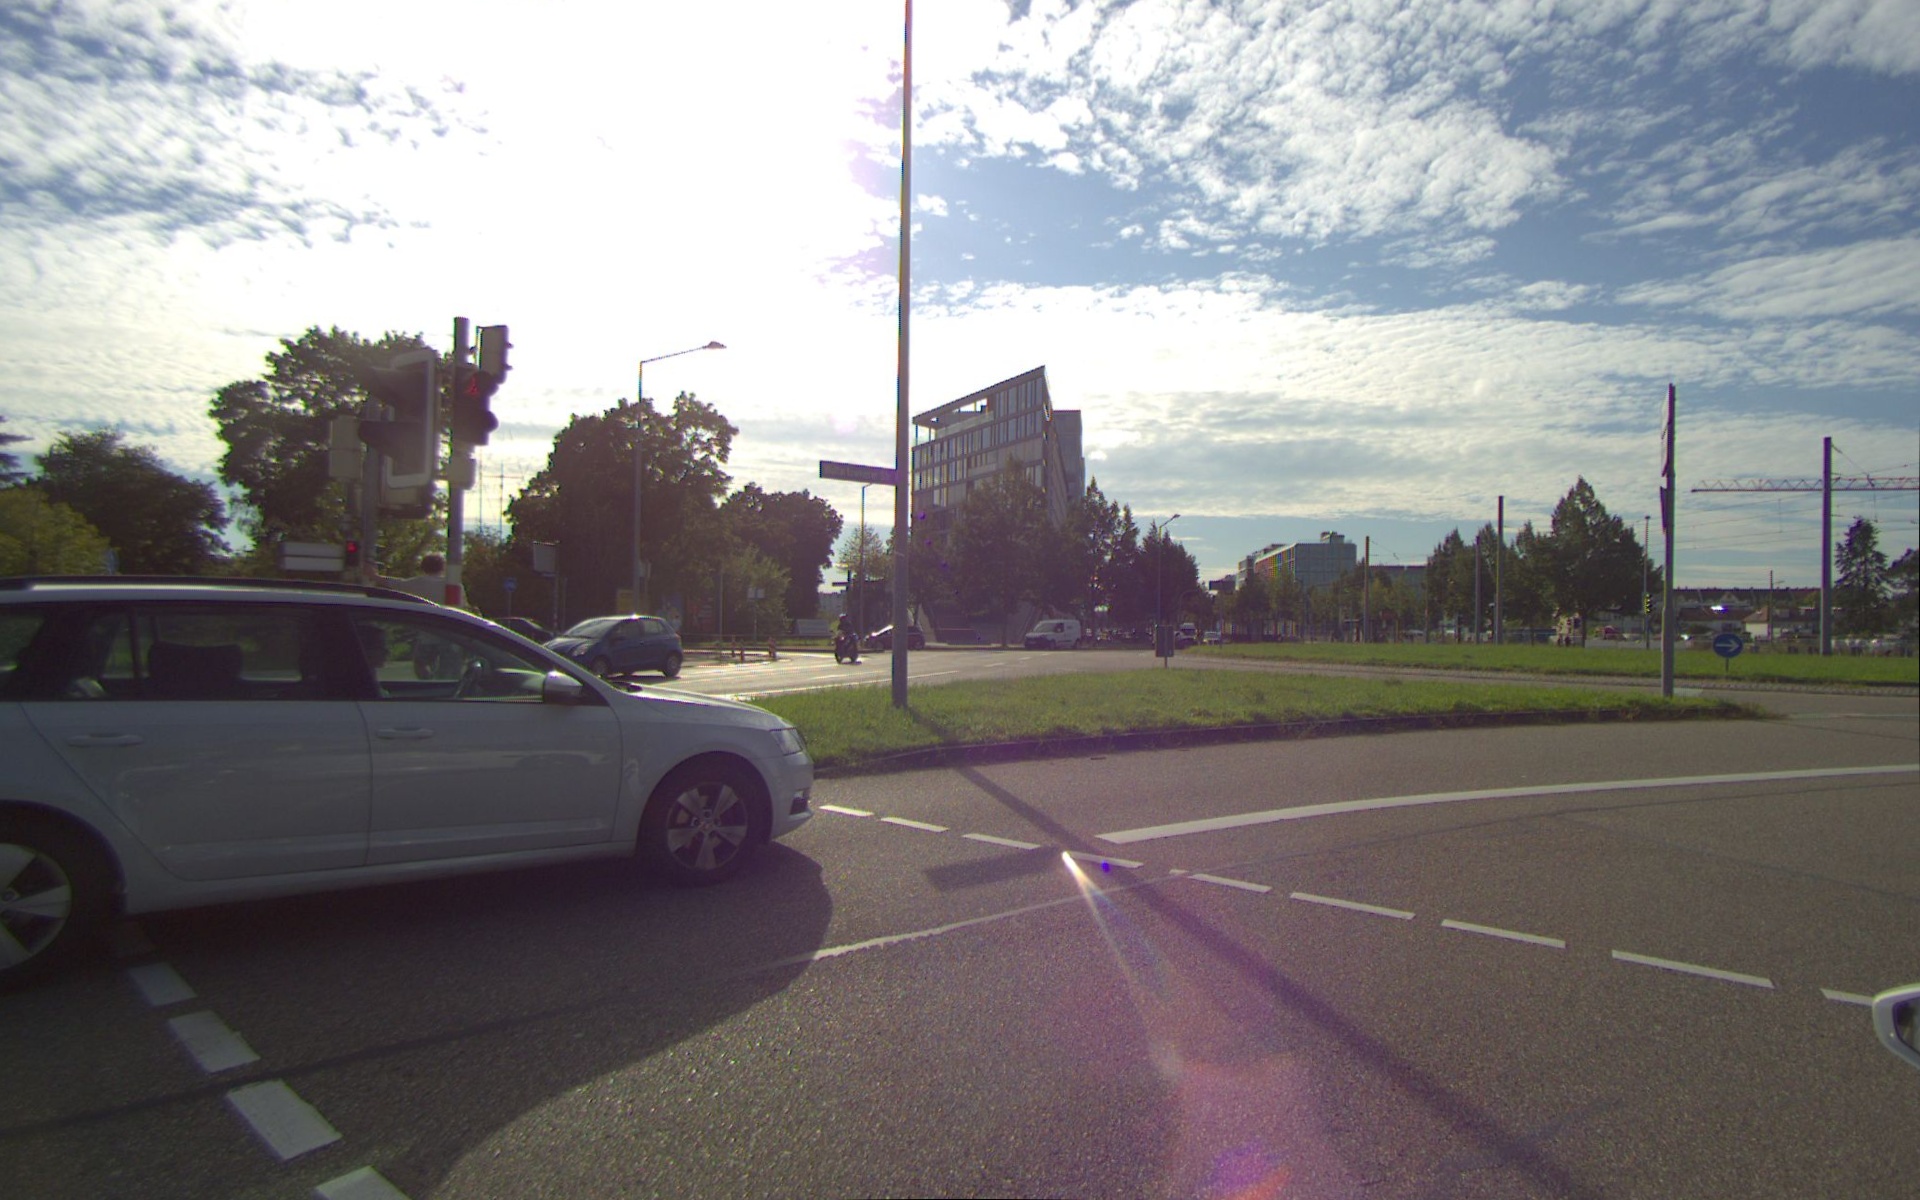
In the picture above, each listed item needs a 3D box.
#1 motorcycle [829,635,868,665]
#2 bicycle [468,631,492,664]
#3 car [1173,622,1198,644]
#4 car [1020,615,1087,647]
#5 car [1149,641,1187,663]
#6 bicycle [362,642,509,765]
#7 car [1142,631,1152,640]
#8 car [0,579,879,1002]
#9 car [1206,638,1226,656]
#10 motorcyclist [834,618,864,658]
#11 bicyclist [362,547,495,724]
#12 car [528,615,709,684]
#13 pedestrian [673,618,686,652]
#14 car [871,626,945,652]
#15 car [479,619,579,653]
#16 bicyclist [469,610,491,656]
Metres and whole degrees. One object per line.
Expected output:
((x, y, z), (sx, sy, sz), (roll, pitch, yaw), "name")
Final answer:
((-3.913, 1.741, 35.403), (0.768, 0.999, 2.025), (0, -1, 11), "motorcycle")
((-15.767, 1.552, 32.996), (0.603, 1.001, 1.824), (1, -1, -29), "bicycle")
((25.042, 3.704, 111.452), (2.025, 2.293, 6.026), (-2, -3, 18), "car")
((5.636, 1.867, 60.088), (1.661, 1.848, 4.540), (-3, -3, 40), "car")
((15.175, 3.762, 73.225), (1.655, 1.521, 3.989), (-2, -3, 27), "car")
((-5.167, 0.947, 9.833), (0.992, 1.020, 1.941), (2, -2, -36), "bicycle")
((43.149, 8.131, 231.692), (1.959, 2.040, 4.003), (0, -2, 8), "car")
((-2.842, 0.689, 4.988), (4.596, 1.464, 1.837), (2, -1, -37), "car")
((22.616, 4.165, 88.830), (1.651, 1.521, 3.997), (-1, -3, 13), "car")
((-3.903, 1.342, 35.400), (0.768, 1.384, 0.944), (0, -1, 12), "motorcyclist")
((-5.096, 0.334, 9.623), (0.988, 1.576, 0.857), (2, -1, -36), "bicyclist")
((-8.110, 1.185, 24.196), (1.752, 1.521, 3.987), (-2, -3, 30), "car")
((-13.961, 1.743, 49.974), (0.496, 1.646, 0.548), (1, -1, -2), "pedestrian")
((-3.000, 2.224, 57.745), (3.940, 1.439, 1.761), (1, -1, -21), "car")
((-20.018, 1.688, 46.700), (3.914, 1.521, 1.687), (0, -2, 4), "car")
((-15.839, 1.083, 33.123), (0.604, 1.465, 0.693), (1, -1, -29), "bicyclist")
